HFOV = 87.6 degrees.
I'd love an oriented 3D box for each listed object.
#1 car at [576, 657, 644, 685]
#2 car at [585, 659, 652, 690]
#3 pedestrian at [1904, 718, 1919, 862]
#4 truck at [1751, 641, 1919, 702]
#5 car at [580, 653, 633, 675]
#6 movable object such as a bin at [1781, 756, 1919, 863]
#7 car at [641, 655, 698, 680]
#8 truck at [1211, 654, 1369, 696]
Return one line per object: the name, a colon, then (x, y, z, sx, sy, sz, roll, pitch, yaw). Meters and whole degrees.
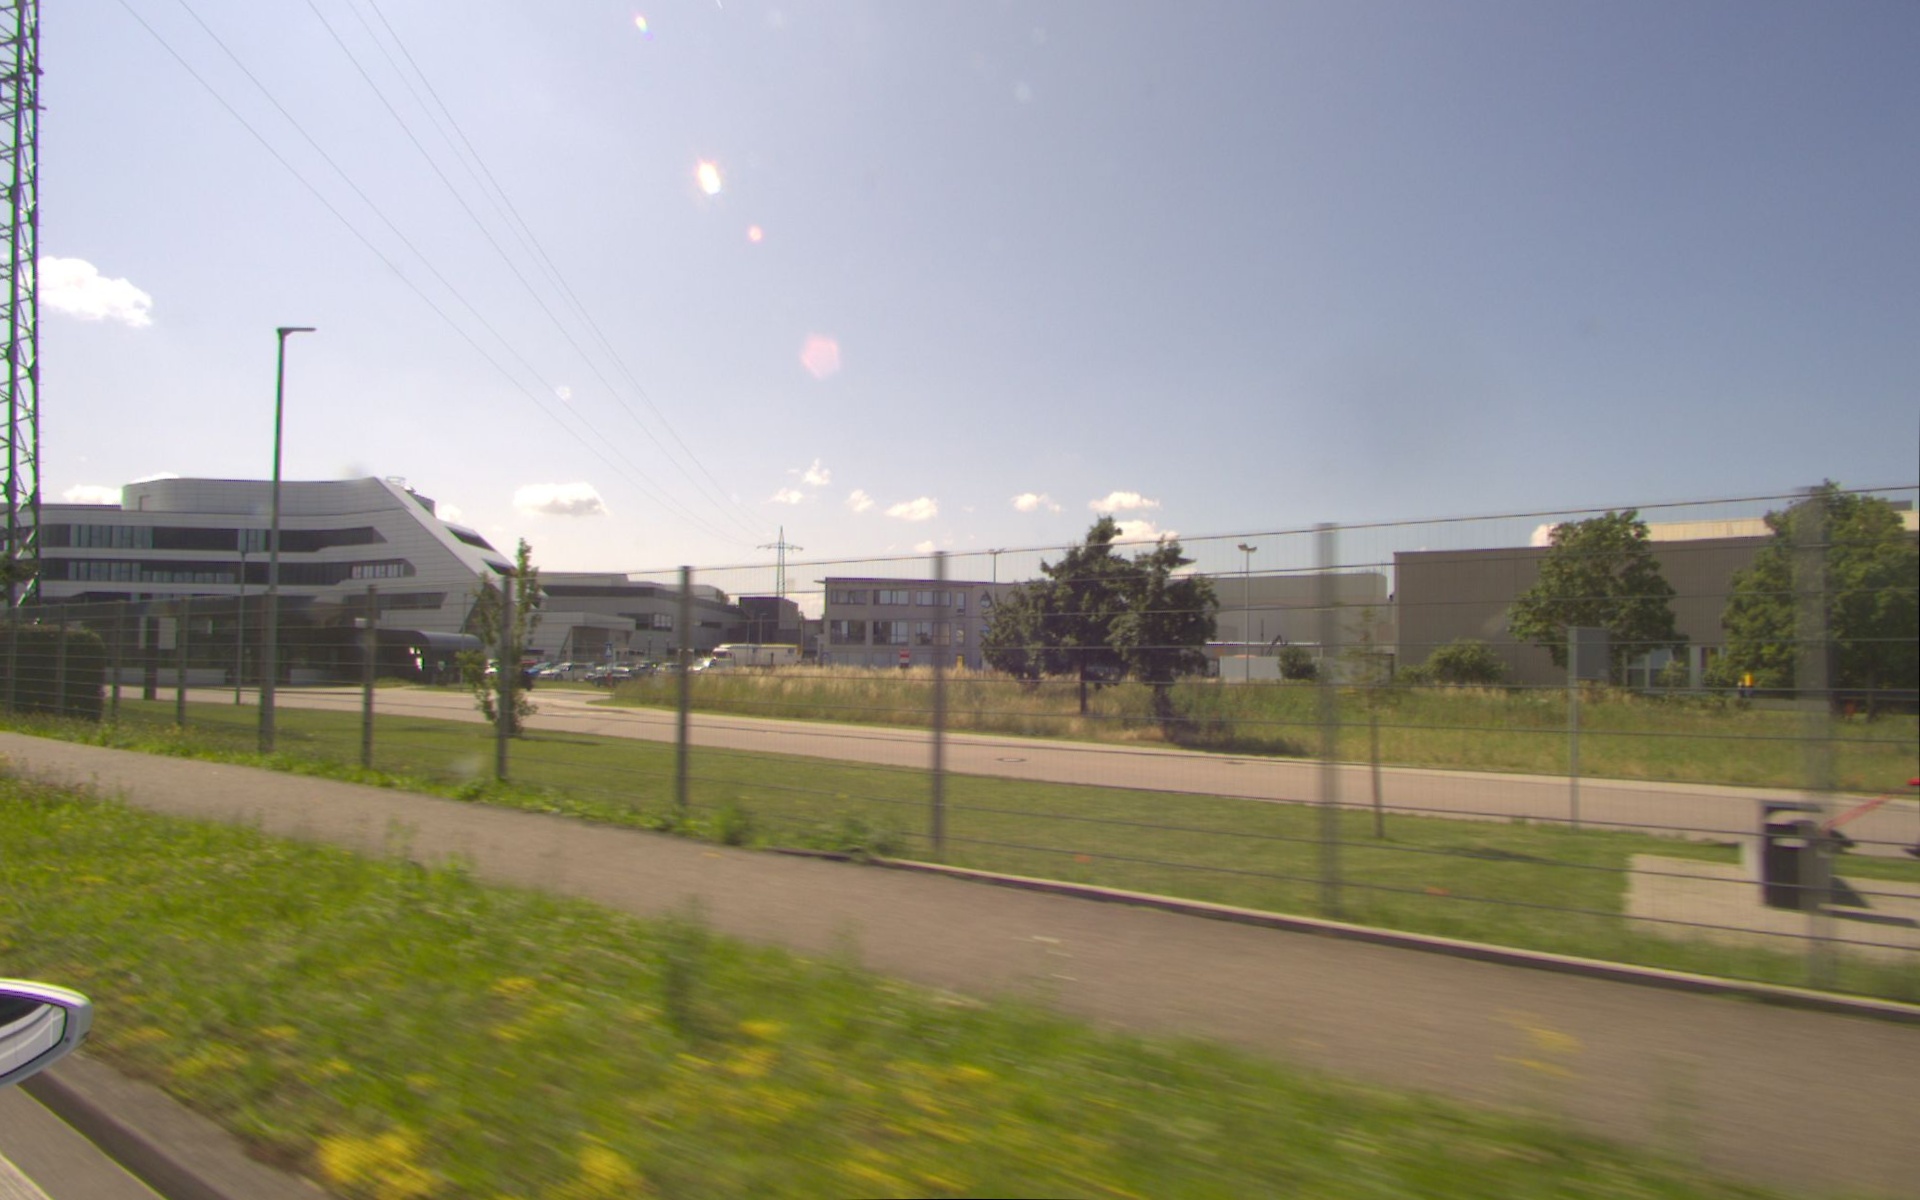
car: (-27.009, 5.526, 77.499, 1.971, 2.038, 4.734, 0, -4, 31)
car: (-24.332, 5.278, 71.238, 4.686, 2.038, 1.991, -1, -4, 33)
pedestrian: (12.305, 2.361, 12.389, 0.781, 1.750, 0.590, 0, -4, 33)
truck: (45.005, 3.278, 45.888, 13.551, 2.747, 1.989, -1, -2, 34)
car: (-35.121, 6.399, 99.688, 1.971, 2.038, 4.734, 0, -4, 31)
movable object such as a bin: (11.515, 2.659, 12.784, 1.546, 1.200, 0.419, -1, -4, 33)
car: (-25.712, 5.983, 88.778, 1.971, 2.038, 4.734, 0, -4, 31)
truck: (25.737, 5.827, 78.624, 11.686, 2.997, 1.991, -1, -4, 34)
